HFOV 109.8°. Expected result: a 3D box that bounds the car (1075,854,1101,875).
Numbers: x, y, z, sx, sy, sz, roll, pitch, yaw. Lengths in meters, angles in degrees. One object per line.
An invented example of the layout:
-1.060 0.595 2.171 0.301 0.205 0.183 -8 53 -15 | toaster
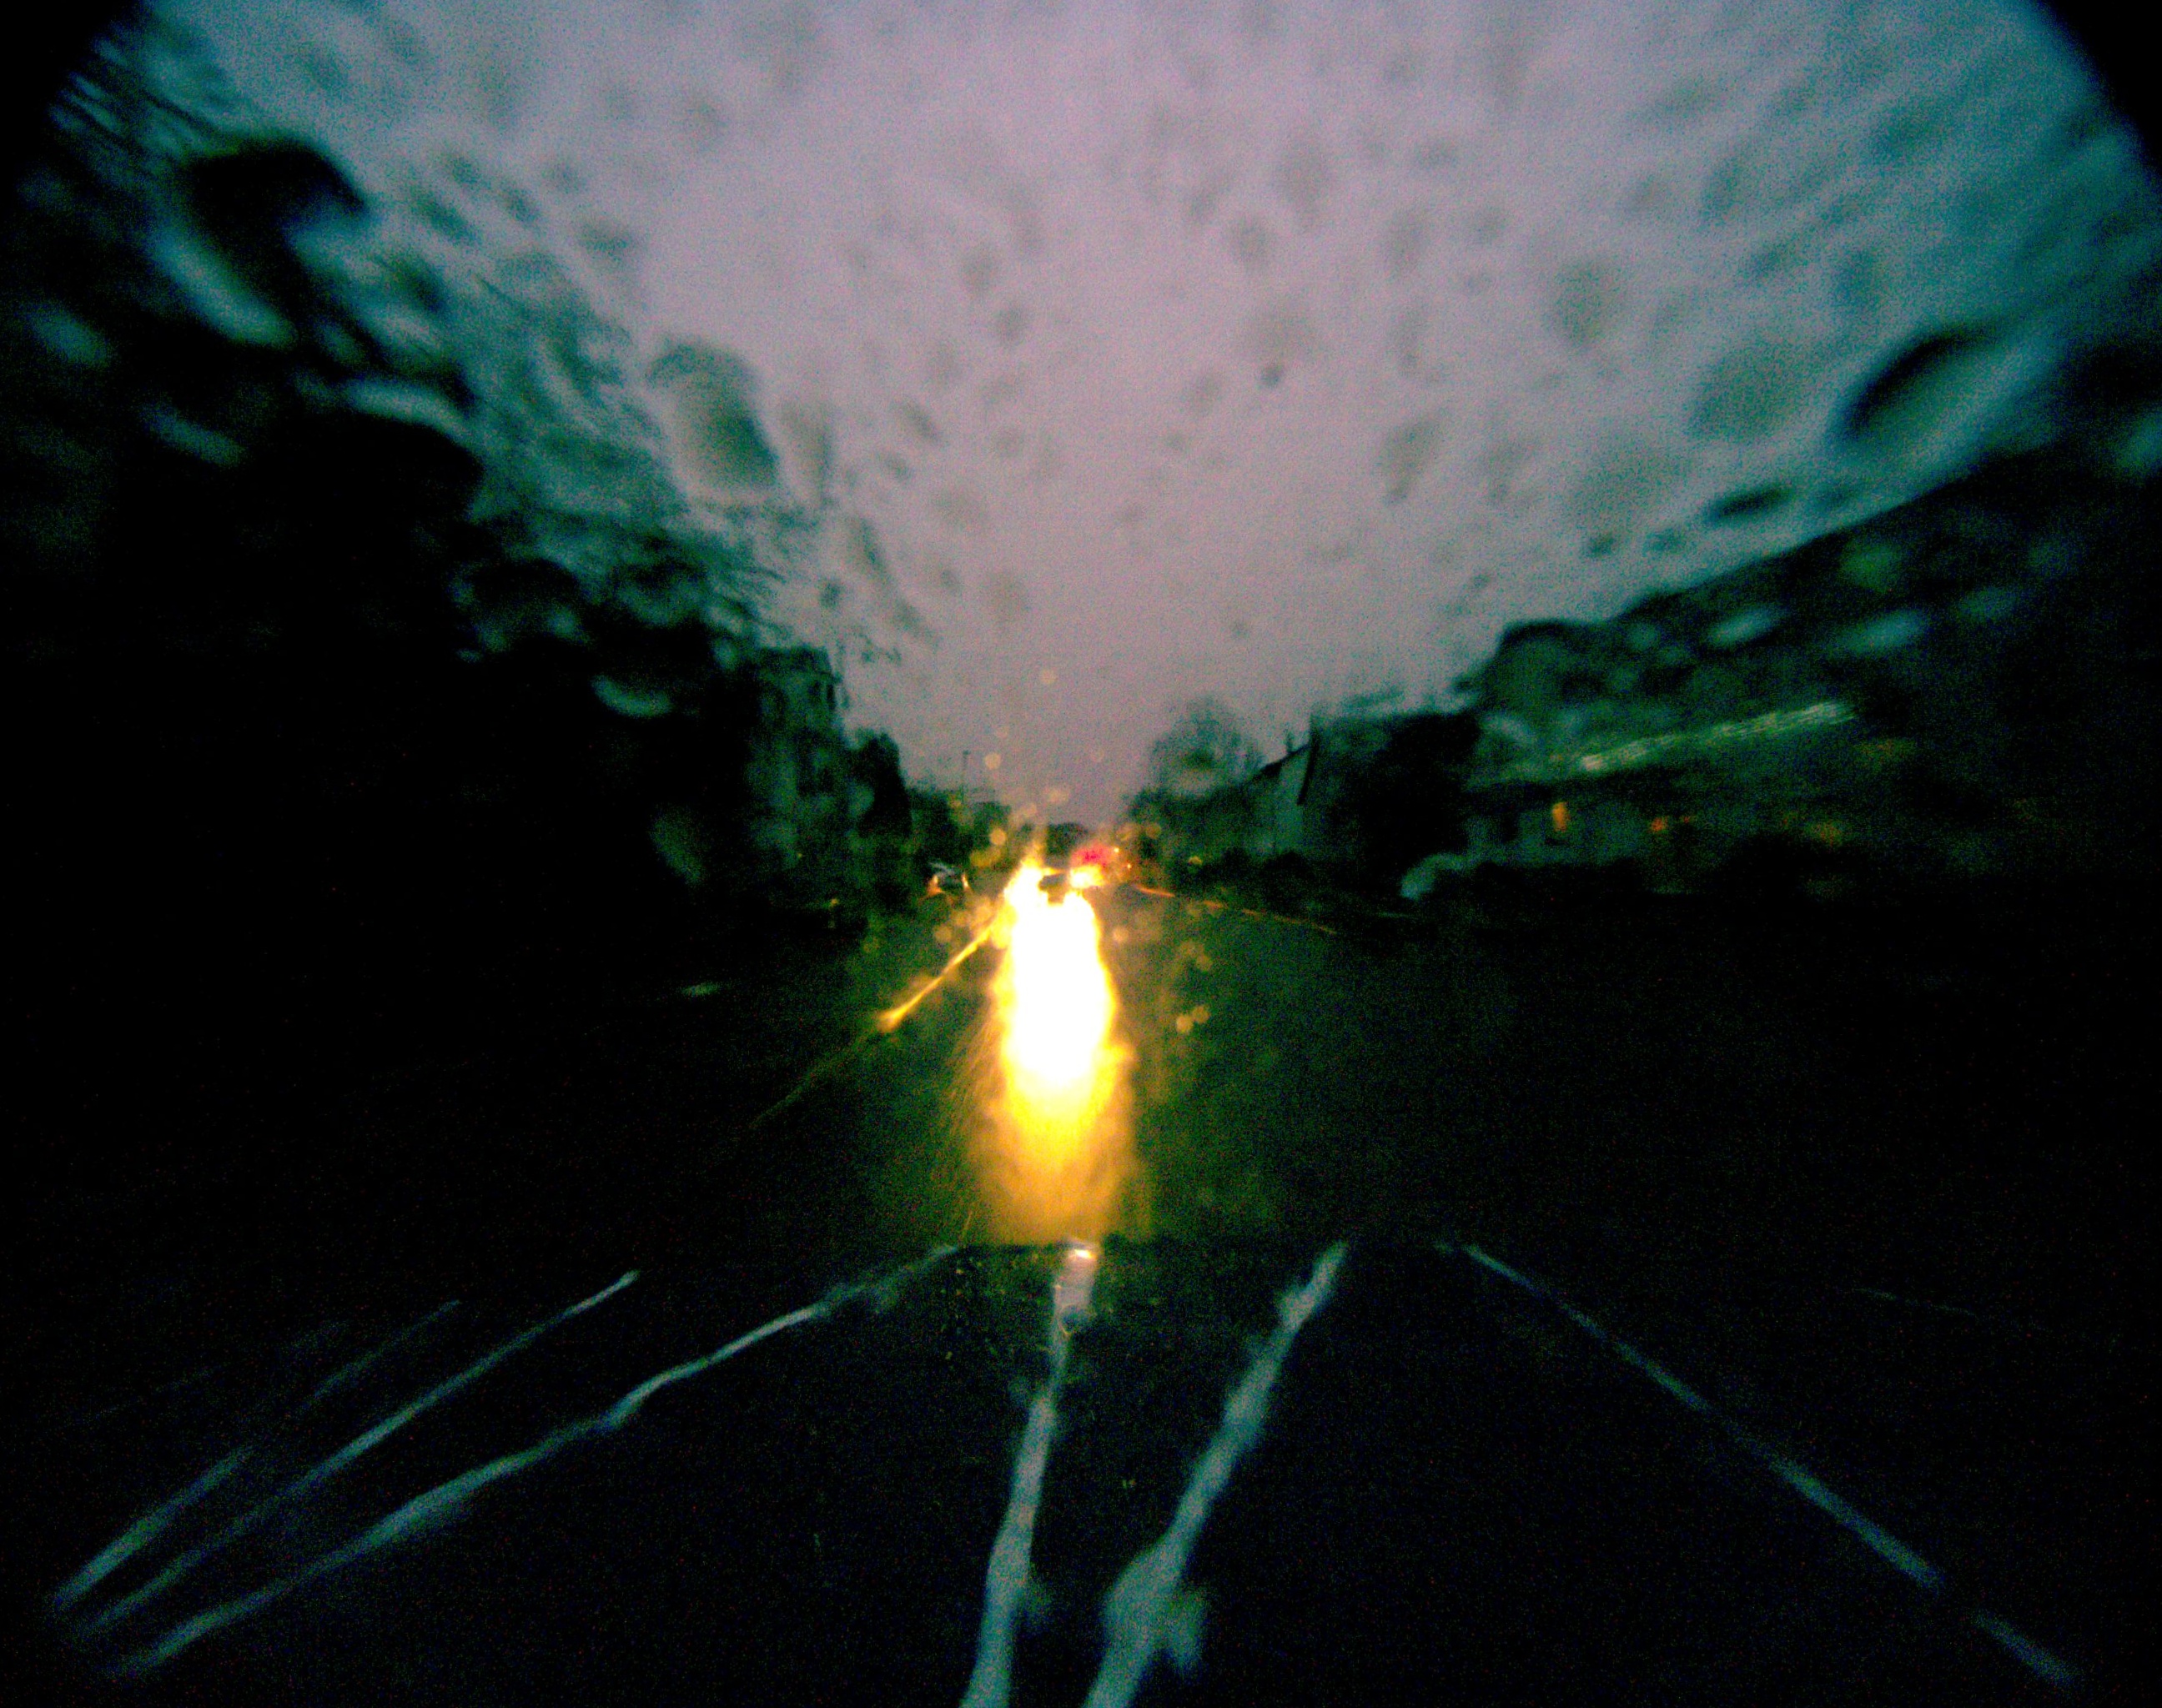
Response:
0.539 0.792 60.986 1.819 1.623 4.223 -1 0 -4 | car

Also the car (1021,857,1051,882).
-3.199 1.124 55.264 1.999 1.660 3.999 -2 0 -2 | car

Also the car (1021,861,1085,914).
-1.019 1.081 25.996 1.999 1.575 3.998 -1 0 -4 | car

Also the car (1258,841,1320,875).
11.494 0.203 42.298 1.999 1.745 4.567 -2 0 -2 | car

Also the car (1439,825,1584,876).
16.743 -0.143 29.744 4.562 1.789 1.912 -2 1 5 | car

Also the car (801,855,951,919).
-6.275 0.981 23.650 4.113 1.696 1.999 -2 1 -4 | car

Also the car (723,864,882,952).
-5.920 1.048 16.858 1.898 1.545 4.754 -2 0 -3 | car

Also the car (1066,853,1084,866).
-0.665 0.578 85.958 1.709 1.433 4.422 0 0 -5 | car

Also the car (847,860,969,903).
-7.313 1.142 32.465 4.746 1.620 1.906 -2 1 0 | car
